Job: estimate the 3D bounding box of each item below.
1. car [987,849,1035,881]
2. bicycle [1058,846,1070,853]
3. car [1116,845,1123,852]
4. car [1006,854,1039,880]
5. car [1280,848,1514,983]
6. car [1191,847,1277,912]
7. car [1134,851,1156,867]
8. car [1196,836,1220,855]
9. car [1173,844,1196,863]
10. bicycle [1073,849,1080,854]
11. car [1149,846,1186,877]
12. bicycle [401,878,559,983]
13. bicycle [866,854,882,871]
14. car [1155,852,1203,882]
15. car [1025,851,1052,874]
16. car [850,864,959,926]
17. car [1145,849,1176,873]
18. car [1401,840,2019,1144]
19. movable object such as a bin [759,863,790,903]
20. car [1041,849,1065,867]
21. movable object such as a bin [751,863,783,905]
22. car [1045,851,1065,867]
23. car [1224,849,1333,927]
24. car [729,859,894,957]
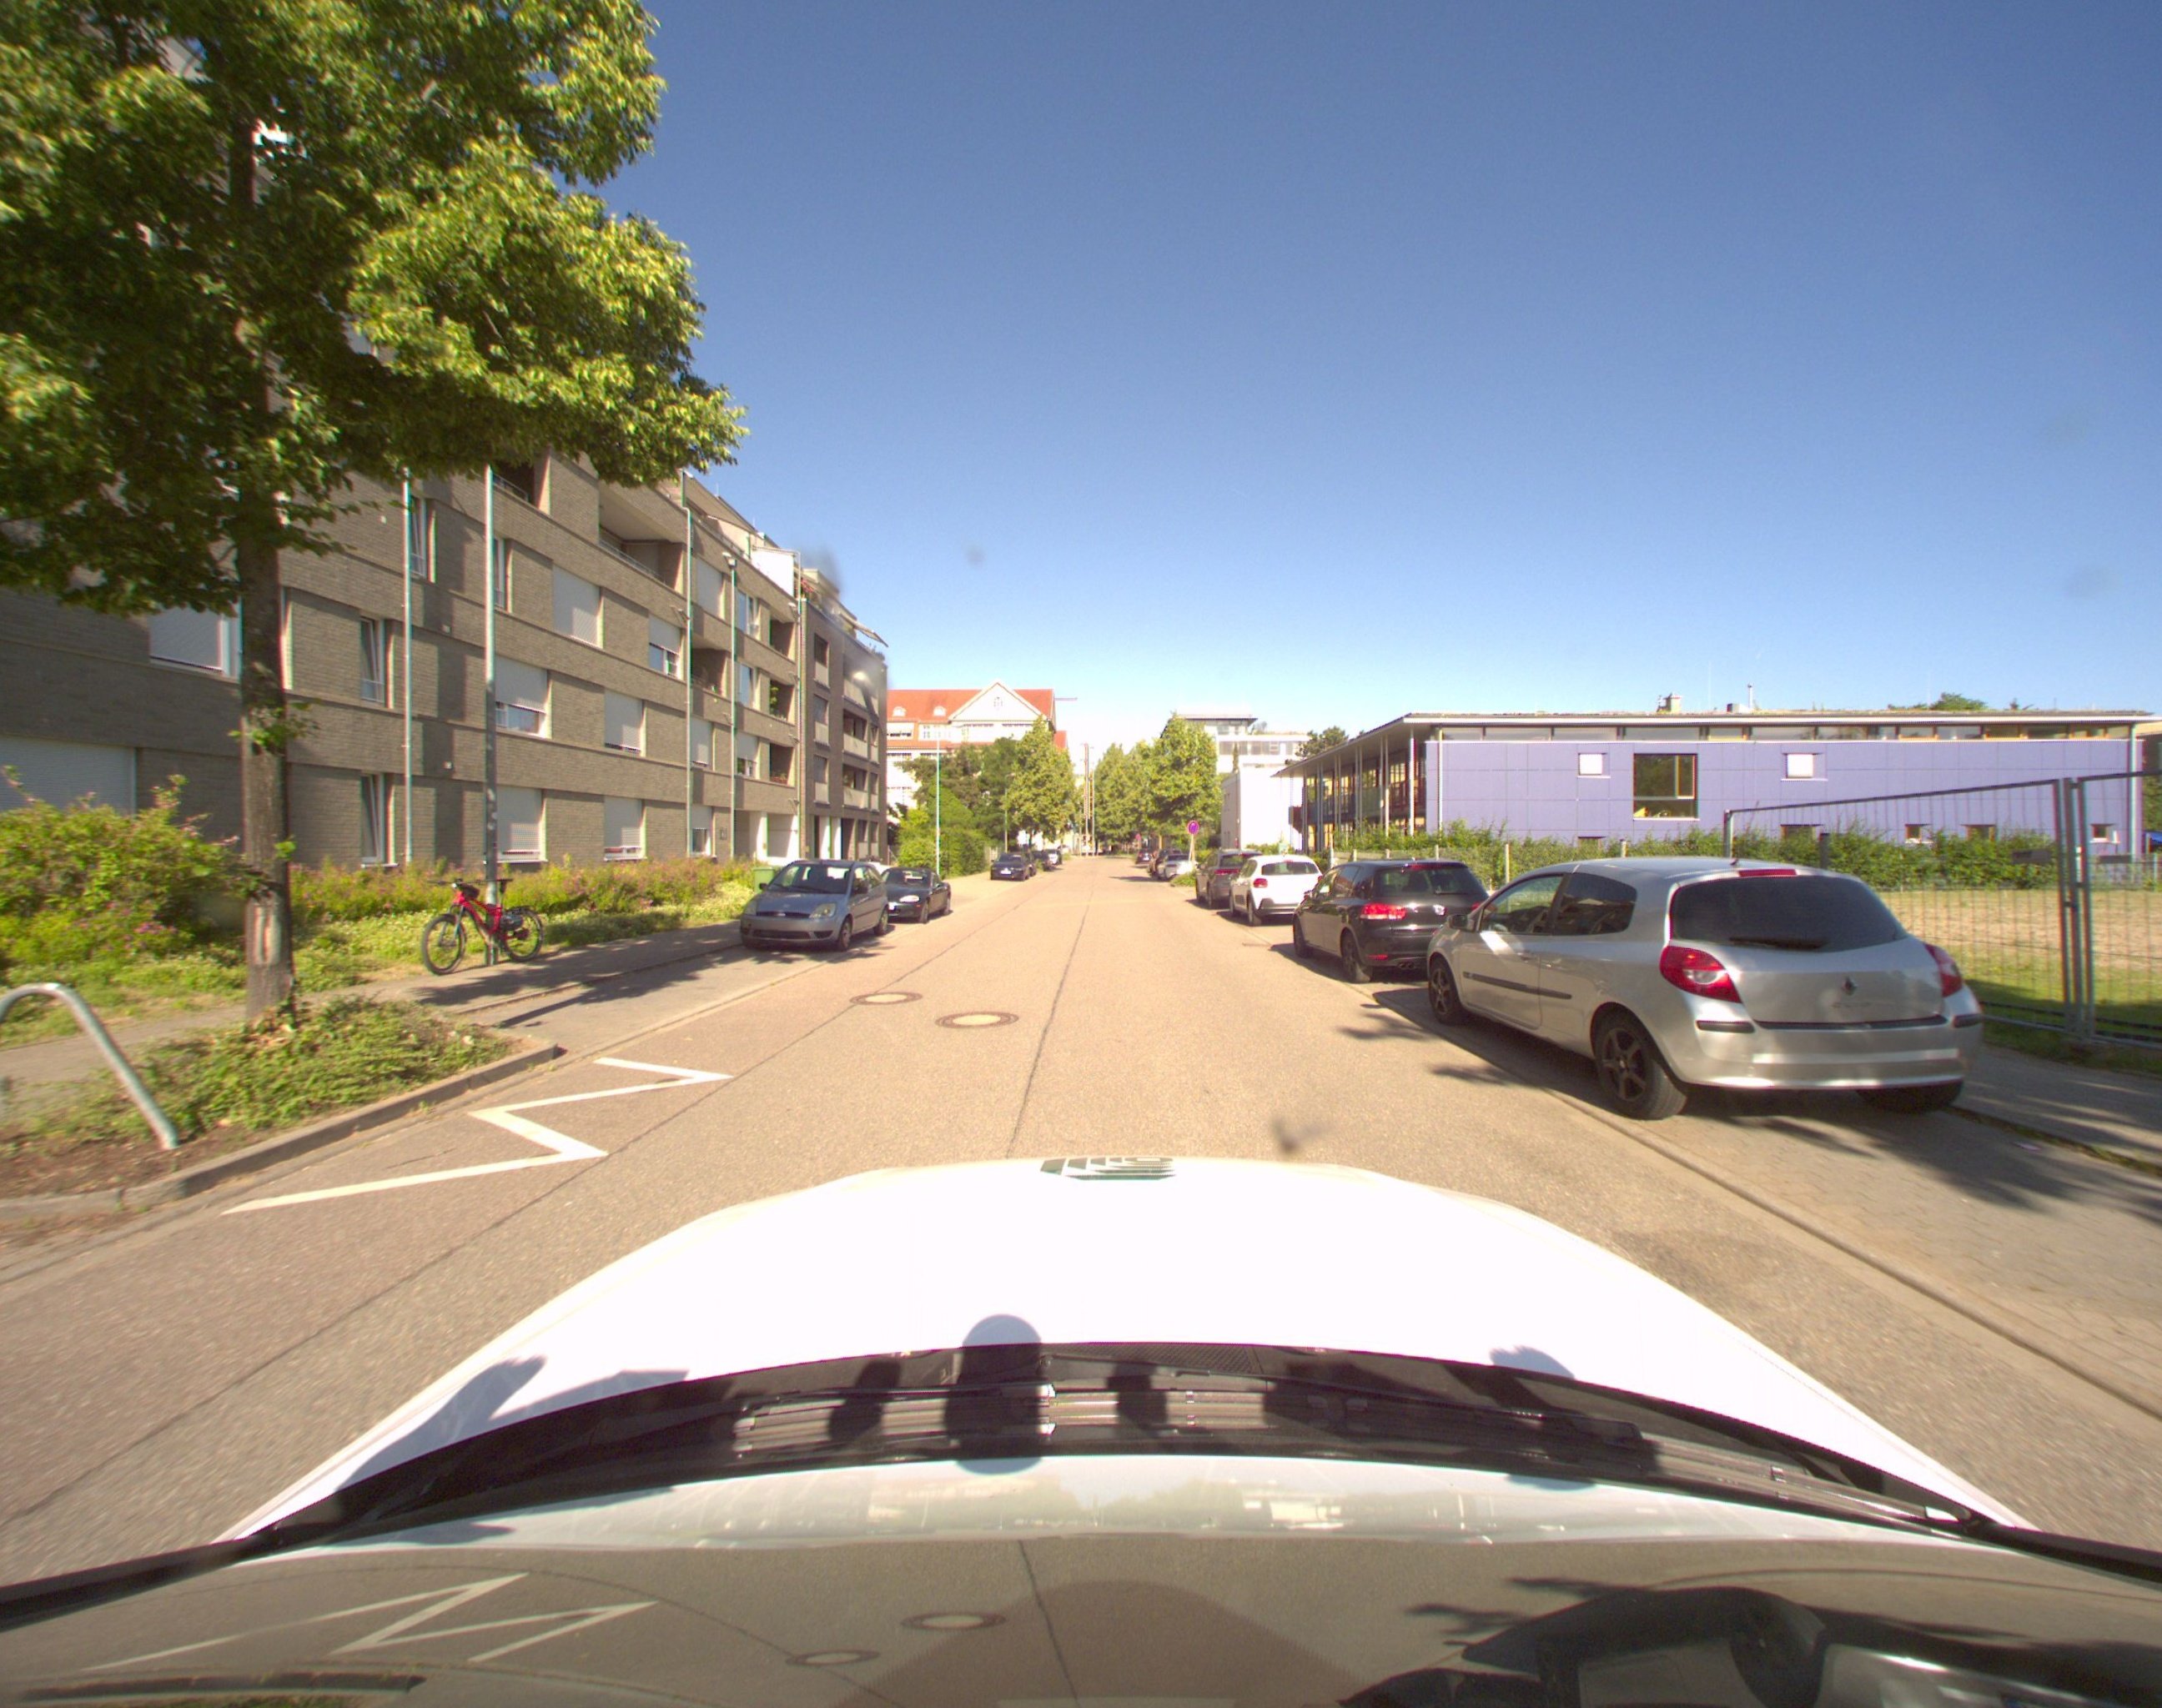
[{"bbox_3d":[-3.647,0.553,43.140,1.753,1.527,4.006,2,0,5],"label":"car"},{"bbox_3d":[-2.061,-0.505,96.981,1.463,0.842,0.335,0,1,-3],"label":"bicycle"},{"bbox_3d":[10.821,-1.620,229.198,1.986,2.013,4.003,0,1,2],"label":"car"},{"bbox_3d":[-3.535,0.767,49.921,1.624,1.501,3.579,0,0,2],"label":"car"},{"bbox_3d":[4.005,0.700,11.084,1.681,1.494,4.079,0,-1,1],"label":"car"},{"bbox_3d":[4.354,0.666,23.823,1.720,1.652,4.327,-2,0,1],"label":"car"},{"bbox_3d":[6.192,0.444,78.947,1.986,1.486,4.002,0,0,2],"label":"car"},{"bbox_3d":[13.267,-0.874,85.269,1.986,2.013,4.002,0,0,2],"label":"car"},{"bbox_3d":[10.788,-0.052,85.247,2.016,2.013,4.002,0,0,2],"label":"car"},{"bbox_3d":[-0.671,-0.314,116.777,0.375,0.683,1.068,-1,1,-35],"label":"bicycle"},{"bbox_3d":[5.257,0.450,49.838,1.814,1.718,4.120,-3,0,1],"label":"car"},{"bbox_3d":[-7.480,0.898,10.259,0.282,1.124,1.989,0,0,8],"label":"bicycle"},{"bbox_3d":[-10.839,0.423,42.684,0.252,0.837,1.777,0,1,5],"label":"bicycle"},{"bbox_3d":[5.027,0.648,42.338,1.824,1.422,4.231,-3,0,-2],"label":"car"},{"bbox_3d":[-3.053,0.597,59.262,1.688,1.605,3.944,0,0,2],"label":"car"},{"bbox_3d":[-4.151,0.923,19.754,1.592,1.217,3.878,2,0,2],"label":"car"},{"bbox_3d":[5.362,0.464,55.568,1.827,1.516,3.881,0,0,1],"label":"car"},{"bbox_3d":[3.947,0.660,6.105,1.656,1.512,4.003,0,1,2],"label":"car"},{"bbox_3d":[-8.571,0.792,22.777,0.605,1.083,0.636,0,1,0],"label":"movable object such as a bin"},{"bbox_3d":[-2.452,0.337,72.569,1.771,1.530,4.002,2,0,2],"label":"car"},{"bbox_3d":[-8.491,0.805,22.025,0.605,1.090,0.636,0,1,0],"label":"movable object such as a bin"},{"bbox_3d":[-2.441,0.422,77.449,1.694,1.470,3.463,0,0,2],"label":"car"},{"bbox_3d":[4.403,0.693,18.695,1.673,1.542,3.850,0,1,1],"label":"car"},{"bbox_3d":[-4.576,0.844,14.425,1.605,1.465,3.874,0,0,0],"label":"car"}]
